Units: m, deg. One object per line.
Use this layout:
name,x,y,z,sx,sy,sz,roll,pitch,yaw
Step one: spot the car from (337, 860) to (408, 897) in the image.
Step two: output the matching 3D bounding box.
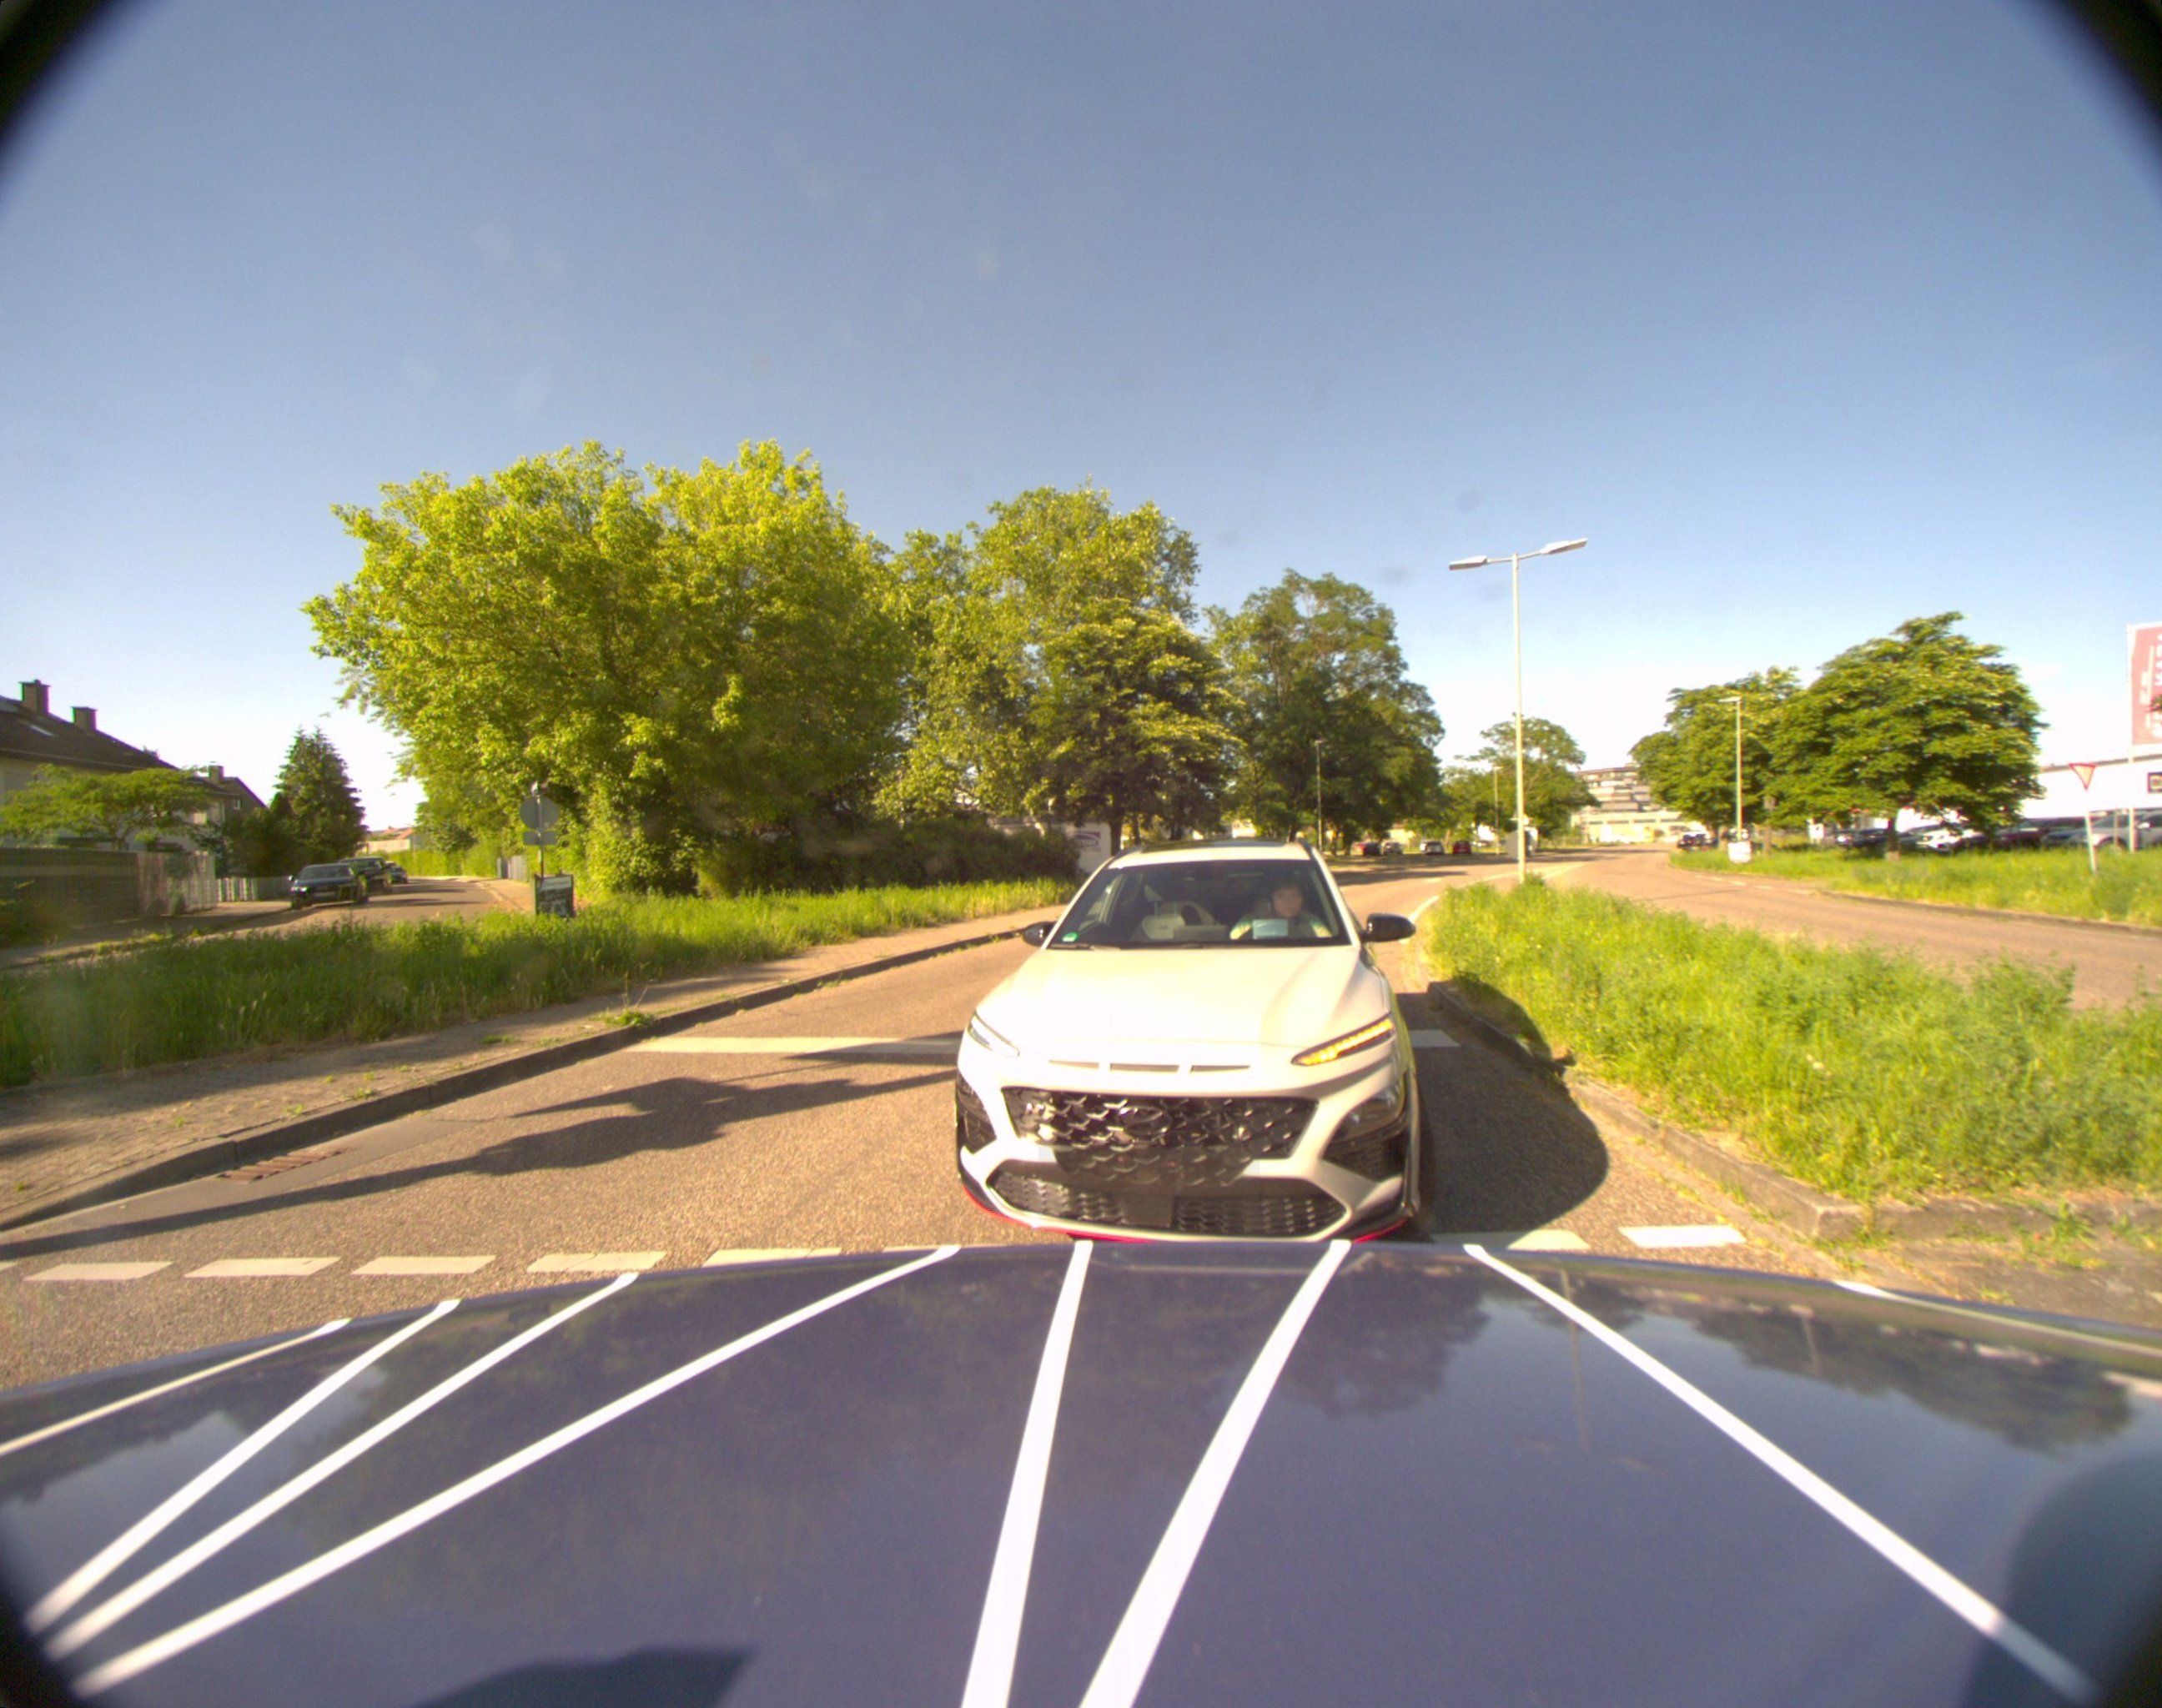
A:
car,-34.937,1.165,37.581,1.967,1.657,3.990,-4,2,-35

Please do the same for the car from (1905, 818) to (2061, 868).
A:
car,39.399,-0.471,33.317,3.993,2.002,2.002,-2,1,14

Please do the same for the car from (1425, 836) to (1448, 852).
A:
car,34.783,-0.968,74.336,1.995,1.442,4.006,1,2,25

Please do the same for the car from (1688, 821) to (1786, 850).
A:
car,37.972,-1.032,44.118,3.990,1.521,1.932,-1,1,27

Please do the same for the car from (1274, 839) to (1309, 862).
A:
car,18.466,-0.329,66.560,2.005,1.785,4.007,-2,1,29

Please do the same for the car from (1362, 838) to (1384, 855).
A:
car,29.215,-0.747,75.962,1.733,1.610,4.006,1,2,25

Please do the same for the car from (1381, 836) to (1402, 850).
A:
car,33.158,-1.145,81.021,1.868,1.432,3.488,1,2,25

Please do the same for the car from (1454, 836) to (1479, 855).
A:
car,37.083,-0.845,73.146,1.995,1.657,4.006,1,2,25

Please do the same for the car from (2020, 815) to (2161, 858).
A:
car,37.754,-0.638,27.753,3.992,1.400,1.841,-2,1,18

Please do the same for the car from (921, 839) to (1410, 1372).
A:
car,0.843,0.785,4.607,1.712,1.636,4.059,-1,2,18

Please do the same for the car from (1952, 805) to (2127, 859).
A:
car,38.538,-0.855,30.682,3.993,2.002,2.002,-1,1,14

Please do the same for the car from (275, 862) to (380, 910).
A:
car,-27.642,1.107,28.029,2.003,1.547,3.990,-3,2,-35
